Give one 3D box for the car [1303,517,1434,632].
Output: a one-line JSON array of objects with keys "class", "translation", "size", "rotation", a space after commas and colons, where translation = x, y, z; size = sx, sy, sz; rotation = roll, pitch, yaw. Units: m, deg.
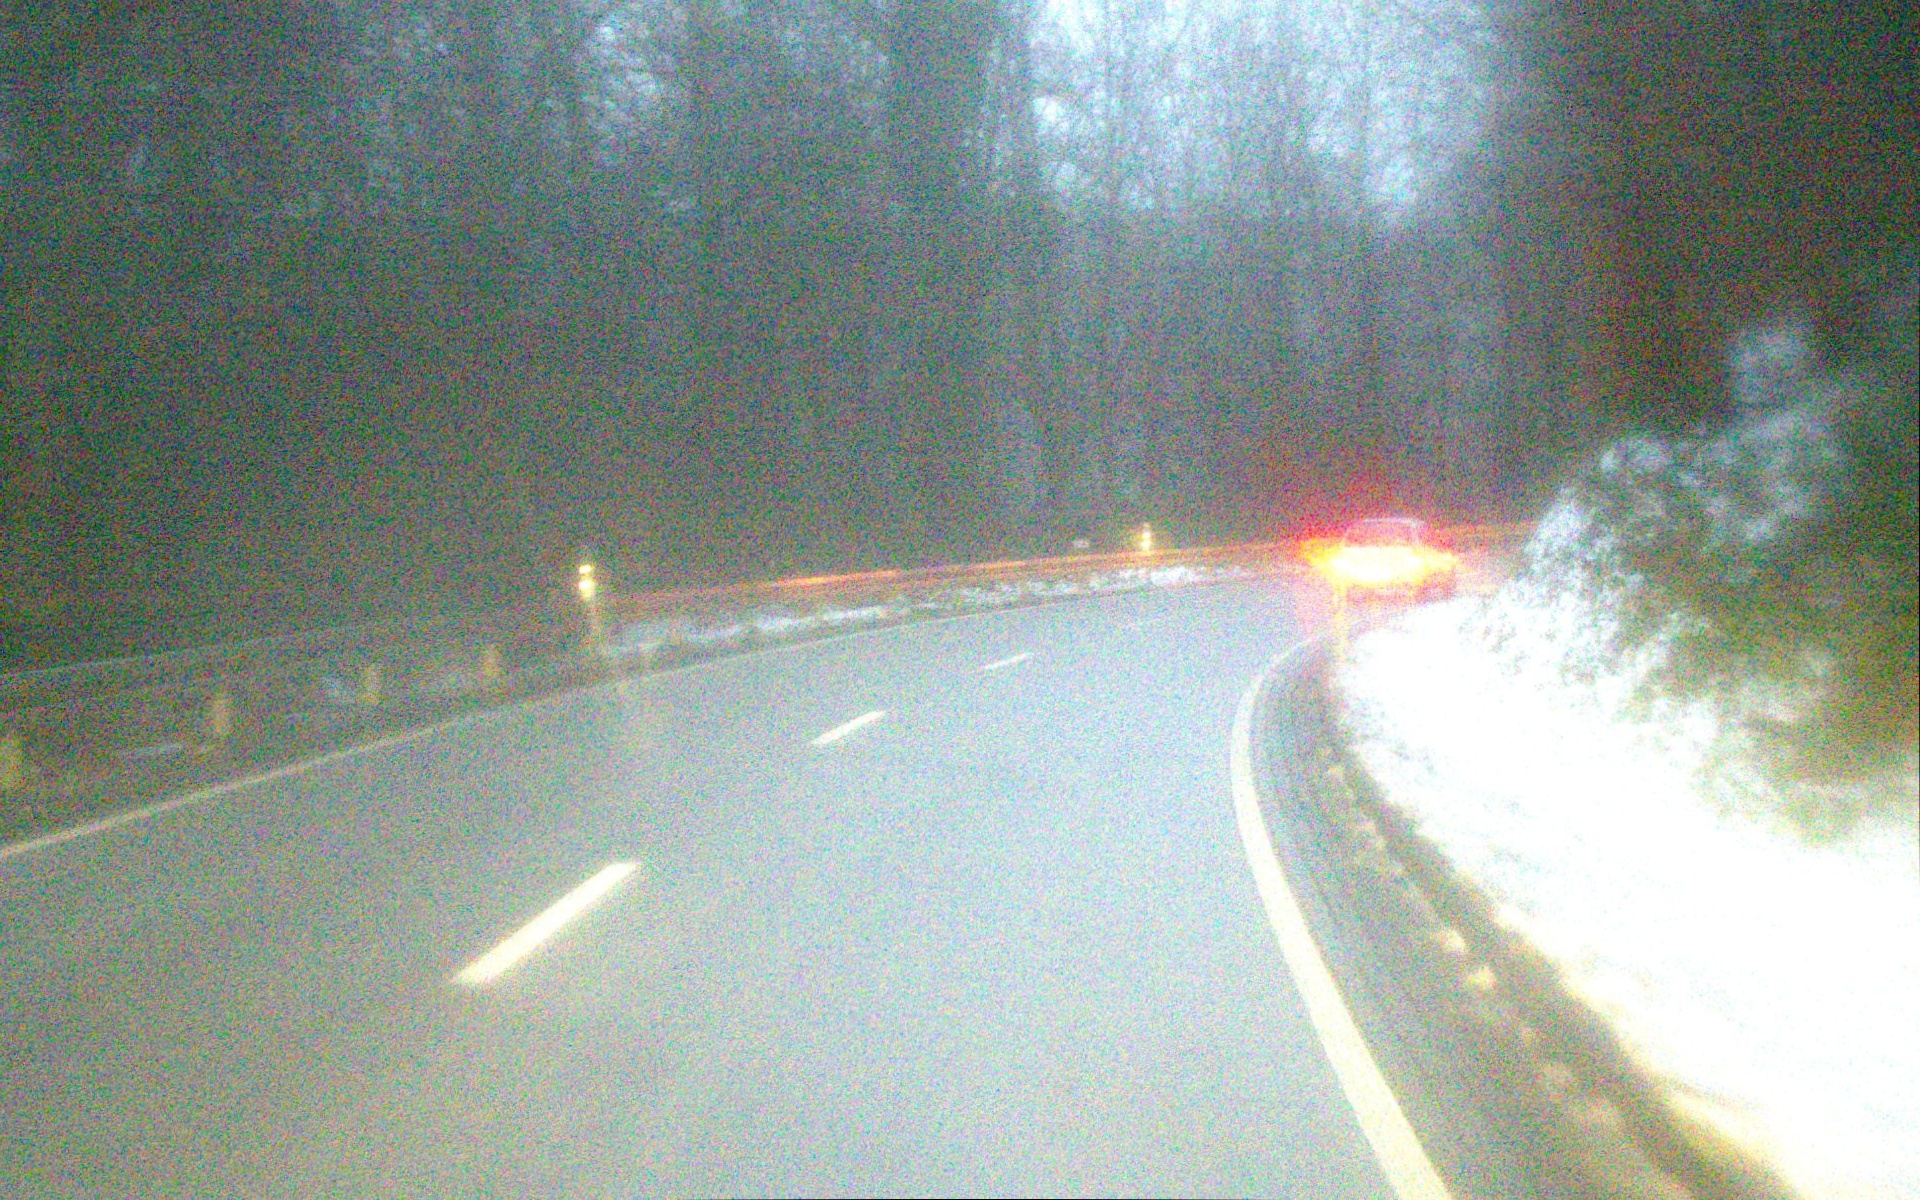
[{"class": "car", "translation": [7.190, -0.484, 60.171], "size": [1.994, 1.866, 3.999], "rotation": [-2, 1, 10]}]
